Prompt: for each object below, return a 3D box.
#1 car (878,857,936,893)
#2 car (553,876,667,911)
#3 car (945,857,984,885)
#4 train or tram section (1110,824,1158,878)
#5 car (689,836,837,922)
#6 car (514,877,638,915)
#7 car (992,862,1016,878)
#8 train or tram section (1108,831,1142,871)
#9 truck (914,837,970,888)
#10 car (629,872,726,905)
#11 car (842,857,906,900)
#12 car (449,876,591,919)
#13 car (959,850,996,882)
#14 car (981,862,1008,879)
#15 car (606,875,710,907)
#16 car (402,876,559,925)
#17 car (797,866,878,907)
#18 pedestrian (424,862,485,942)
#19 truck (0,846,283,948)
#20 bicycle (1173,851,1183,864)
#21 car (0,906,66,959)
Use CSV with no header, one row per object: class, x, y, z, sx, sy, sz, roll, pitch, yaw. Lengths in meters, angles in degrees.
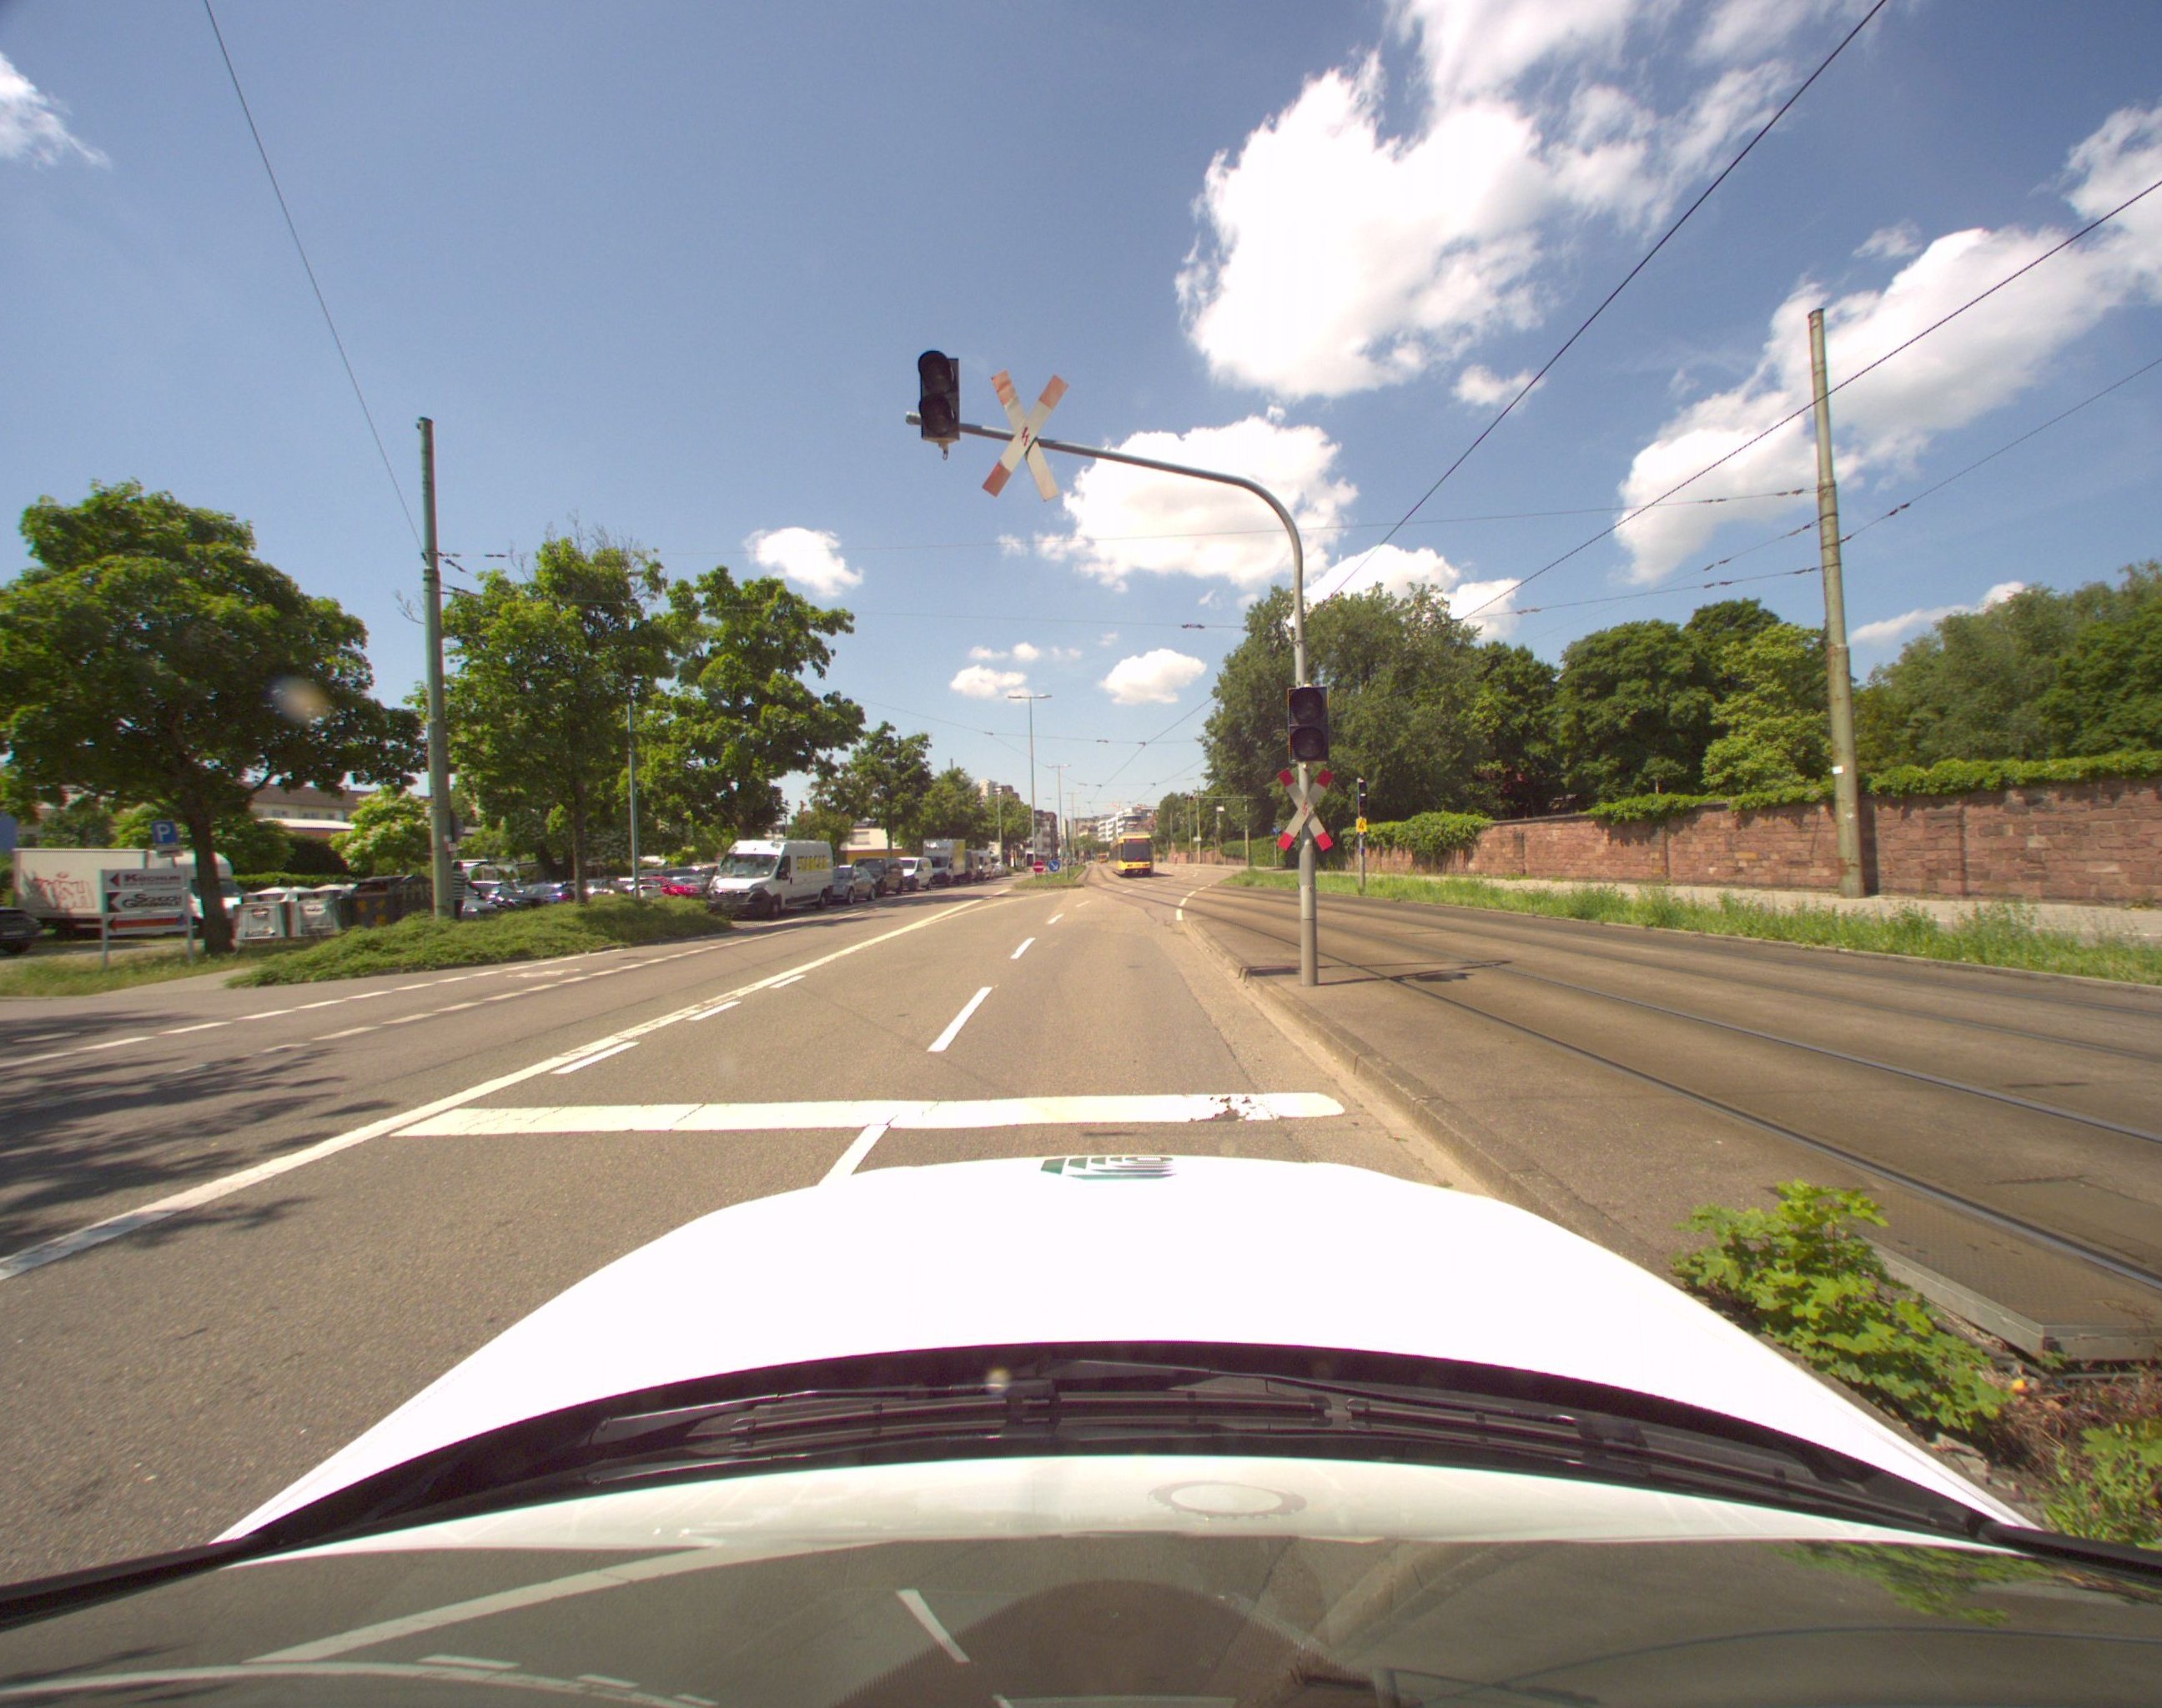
car,-9.882,1.153,46.686,2.053,1.898,4.872,-2,0,2
car,-21.032,1.740,36.501,3.974,1.339,1.805,-2,0,-1
car,-8.957,1.265,62.941,2.053,1.977,4.872,-2,0,2
train or tram section,4.041,-0.227,66.389,2.933,3.692,18.389,-1,0,1
car,-10.319,0.743,27.149,2.148,2.487,6.198,1,0,3
car,-20.924,1.719,33.863,3.974,1.339,1.805,-2,0,-1
car,-8.657,1.761,91.558,2.053,1.582,4.872,-2,0,2
train or tram section,4.424,-0.284,85.676,2.932,3.692,20.290,-1,0,2
truck,-9.335,0.518,55.306,2.147,3.210,7.088,1,0,3
car,-20.576,1.737,41.644,3.974,1.442,1.805,-2,0,0
car,-10.072,1.140,39.911,1.862,1.895,4.272,-2,0,2
car,-20.860,1.590,30.401,3.974,1.339,1.805,-2,0,-1
car,-8.899,0.965,70.759,2.148,2.639,5.616,1,0,3
car,-8.877,1.687,83.962,2.053,1.582,4.872,-2,0,2
car,-20.230,1.759,39.093,3.974,1.339,1.805,-2,0,-1
car,-20.559,1.574,27.984,3.974,1.442,1.805,-2,0,-1
car,-9.877,1.274,33.414,1.862,1.437,4.344,-2,0,2
pedestrian,-15.055,1.135,19.602,0.980,1.823,0.787,-2,0,-27
truck,-33.441,1.478,29.154,7.167,3.228,2.331,-2,0,-2
bicycle,14.913,0.595,125.603,1.088,1.908,3.683,-2,0,2
car,-32.332,2.324,23.400,3.975,1.399,1.772,-2,0,-1
